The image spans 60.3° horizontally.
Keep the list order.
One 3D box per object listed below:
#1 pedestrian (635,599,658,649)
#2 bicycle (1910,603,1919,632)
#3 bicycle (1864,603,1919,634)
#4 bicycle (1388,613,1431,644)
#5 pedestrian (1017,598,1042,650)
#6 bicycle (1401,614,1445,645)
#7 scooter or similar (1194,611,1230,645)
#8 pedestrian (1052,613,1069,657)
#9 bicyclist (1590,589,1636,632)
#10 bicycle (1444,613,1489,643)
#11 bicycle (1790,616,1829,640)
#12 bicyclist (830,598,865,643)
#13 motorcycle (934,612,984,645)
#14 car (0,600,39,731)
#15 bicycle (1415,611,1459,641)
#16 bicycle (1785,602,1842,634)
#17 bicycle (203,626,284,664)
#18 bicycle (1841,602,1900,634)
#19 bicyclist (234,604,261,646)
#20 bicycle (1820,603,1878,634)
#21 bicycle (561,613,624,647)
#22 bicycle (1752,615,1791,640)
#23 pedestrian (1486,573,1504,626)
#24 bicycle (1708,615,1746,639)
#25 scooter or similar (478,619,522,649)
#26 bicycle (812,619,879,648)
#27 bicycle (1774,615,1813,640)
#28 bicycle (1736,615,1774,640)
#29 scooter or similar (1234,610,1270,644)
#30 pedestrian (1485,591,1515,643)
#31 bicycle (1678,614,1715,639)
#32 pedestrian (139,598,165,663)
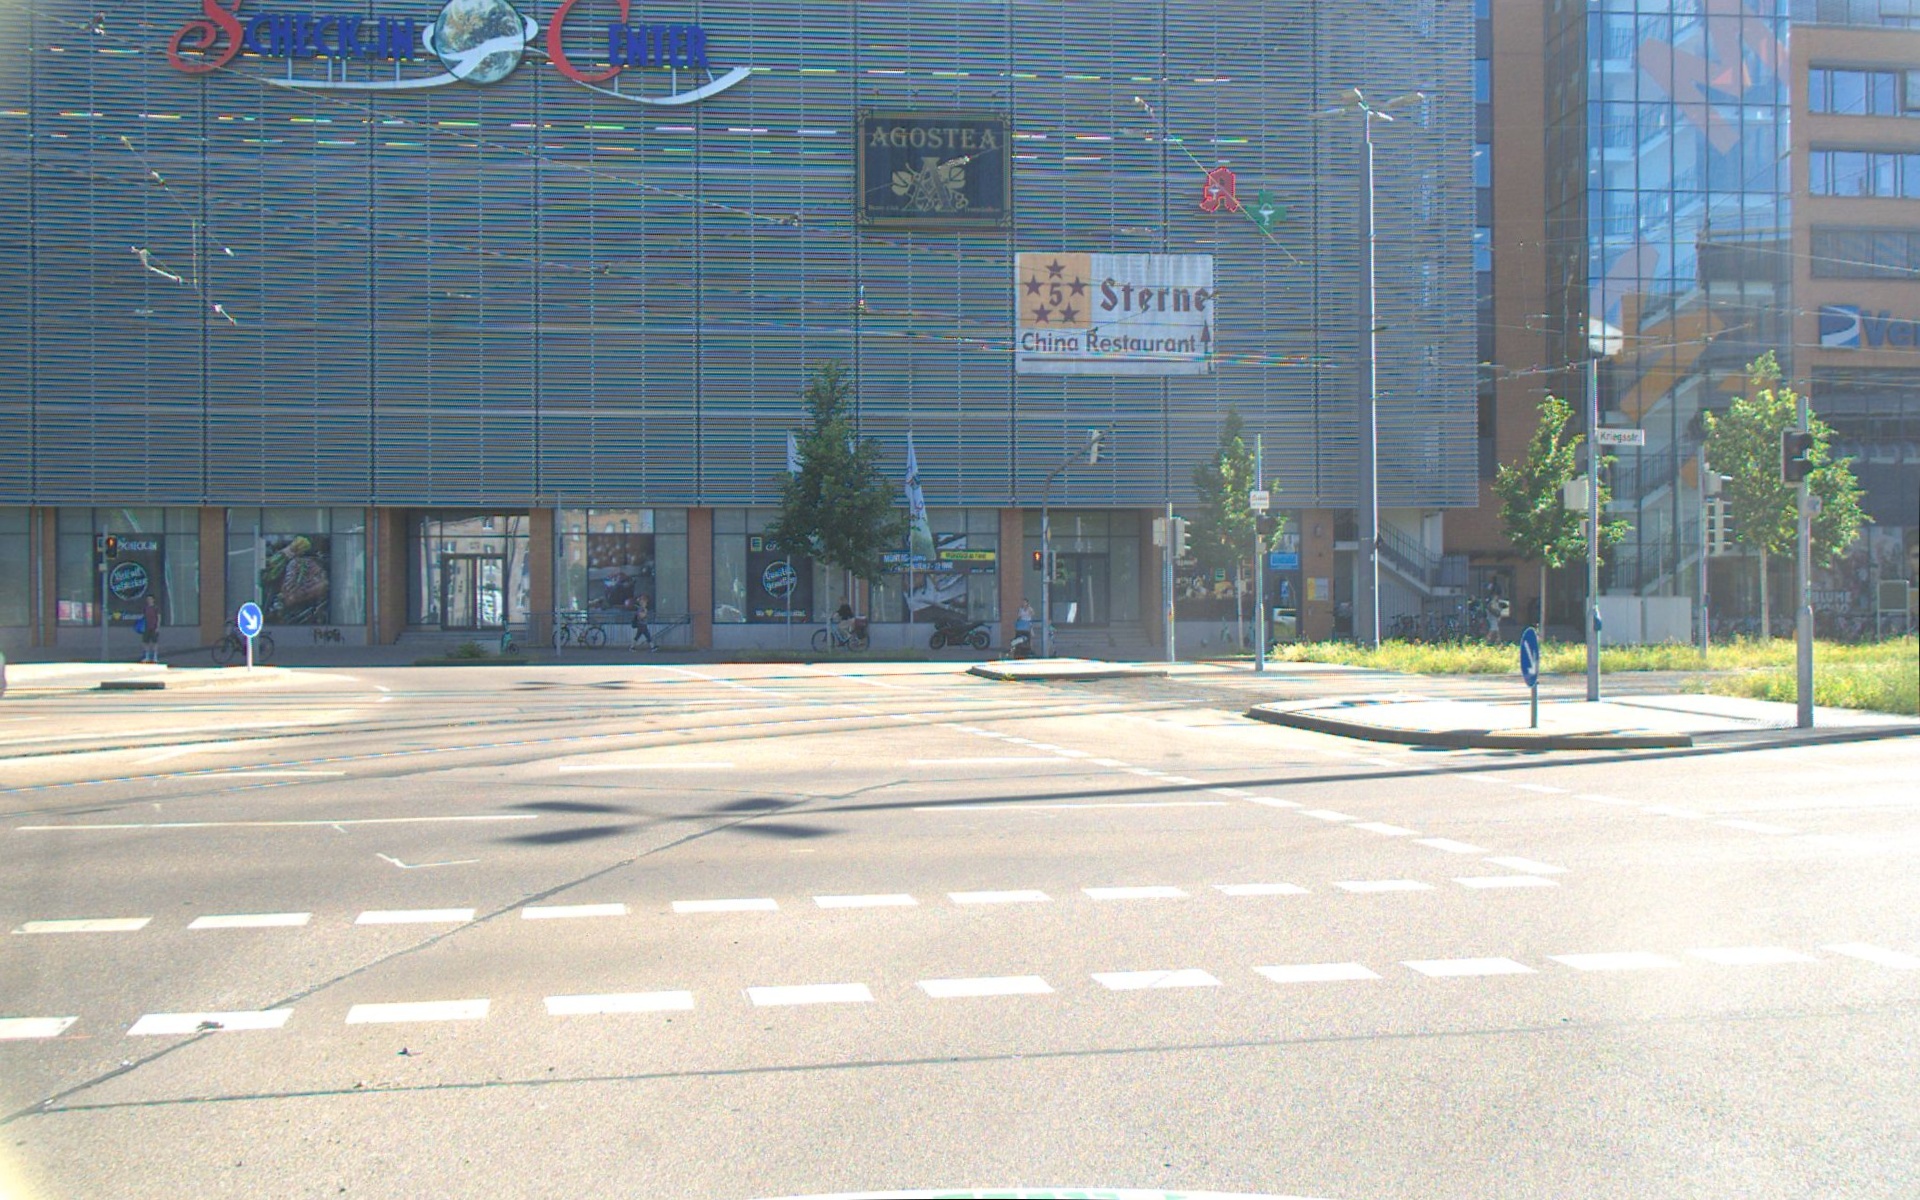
[{"bbox_3d":[-9.749,0.740,51.475,0.634,1.545,0.491,0,-1,-2],"label":"pedestrian"},{"bbox_3d":[37.621,0.692,63.536,0.737,1.143,2.174,0,1,-12],"label":"bicycle"},{"bbox_3d":[35.840,0.700,63.492,0.737,1.143,2.174,0,1,-12],"label":"bicycle"},{"bbox_3d":[15.199,0.965,56.008,0.482,0.971,2.174,0,1,-12],"label":"bicycle"},{"bbox_3d":[2.050,0.708,48.765,0.723,1.513,0.490,0,0,3],"label":"pedestrian"},{"bbox_3d":[15.720,0.988,56.181,0.482,0.971,2.174,0,1,-12],"label":"bicycle"},{"bbox_3d":[8.521,0.956,55.963,1.178,1.122,0.277,1,-1,-5],"label":"scooter or similar"},{"bbox_3d":[2.924,1.017,48.142,0.438,1.250,0.397,0,0,-6],"label":"pedestrian"},{"bbox_3d":[21.571,0.344,54.631,1.283,1.432,0.593,0,-1,-6],"label":"bicyclist"},{"bbox_3d":[17.302,0.953,56.512,0.482,0.971,2.174,0,1,-12],"label":"bicycle"},{"bbox_3d":[30.564,1.001,59.492,0.436,0.833,1.447,0,1,-12],"label":"bicycle"},{"bbox_3d":[-3.461,0.627,50.825,1.016,1.341,0.681,0,0,-8],"label":"bicyclist"},{"bbox_3d":[-0.041,0.936,53.780,1.583,1.056,0.401,0,0,-6],"label":"motorcycle"},{"bbox_3d":[-12.781,0.767,18.241,1.953,1.526,4.308,0,0,23],"label":"car"},{"bbox_3d":[16.273,0.881,56.439,0.482,0.971,2.174,0,1,-12],"label":"bicycle"},{"bbox_3d":[32.535,0.674,63.100,0.737,1.143,2.174,0,1,-12],"label":"bicycle"},{"bbox_3d":[-19.732,1.227,45.564,2.002,1.003,0.552,0,-1,-40],"label":"bicycle"},{"bbox_3d":[34.934,0.678,63.496,0.737,1.143,2.174,0,1,-12],"label":"bicycle"},{"bbox_3d":[-19.660,0.692,45.622,0.558,1.159,0.552,0,-1,-39],"label":"bicyclist"},{"bbox_3d":[34.015,0.695,63.309,0.737,1.143,2.174,0,1,-12],"label":"bicycle"},{"bbox_3d":[-11.618,0.940,52.341,1.910,1.056,0.571,0,0,-11],"label":"bicycle"},{"bbox_3d":[28.916,0.975,58.952,0.436,0.833,1.447,0,1,-12],"label":"bicycle"},{"bbox_3d":[19.853,0.000,61.380,0.528,1.948,0.374,1,-1,1],"label":"pedestrian"},{"bbox_3d":[27.337,0.957,58.978,0.436,0.833,1.447,0,1,-12],"label":"bicycle"},{"bbox_3d":[-13.318,0.985,47.892,1.200,0.866,0.300,0,0,-10],"label":"scooter or similar"},{"bbox_3d":[-3.522,1.030,50.803,2.003,0.882,0.681,0,0,-8],"label":"bicycle"},{"bbox_3d":[29.860,0.984,59.245,0.436,0.833,1.447,0,1,-12],"label":"bicycle"},{"bbox_3d":[28.321,0.976,58.915,0.436,0.833,1.447,0,1,-12],"label":"bicycle"},{"bbox_3d":[9.943,0.931,56.358,1.178,1.122,0.277,1,-1,-5],"label":"scooter or similar"},{"bbox_3d":[17.992,0.565,55.117,0.764,1.714,0.594,0,0,-20],"label":"pedestrian"},{"bbox_3d":[26.182,0.935,58.821,0.436,0.833,1.447,0,1,-12],"label":"bicycle"},{"bbox_3d":[-22.150,0.827,45.339,0.615,1.782,0.584,0,-1,-25],"label":"pedestrian"}]
